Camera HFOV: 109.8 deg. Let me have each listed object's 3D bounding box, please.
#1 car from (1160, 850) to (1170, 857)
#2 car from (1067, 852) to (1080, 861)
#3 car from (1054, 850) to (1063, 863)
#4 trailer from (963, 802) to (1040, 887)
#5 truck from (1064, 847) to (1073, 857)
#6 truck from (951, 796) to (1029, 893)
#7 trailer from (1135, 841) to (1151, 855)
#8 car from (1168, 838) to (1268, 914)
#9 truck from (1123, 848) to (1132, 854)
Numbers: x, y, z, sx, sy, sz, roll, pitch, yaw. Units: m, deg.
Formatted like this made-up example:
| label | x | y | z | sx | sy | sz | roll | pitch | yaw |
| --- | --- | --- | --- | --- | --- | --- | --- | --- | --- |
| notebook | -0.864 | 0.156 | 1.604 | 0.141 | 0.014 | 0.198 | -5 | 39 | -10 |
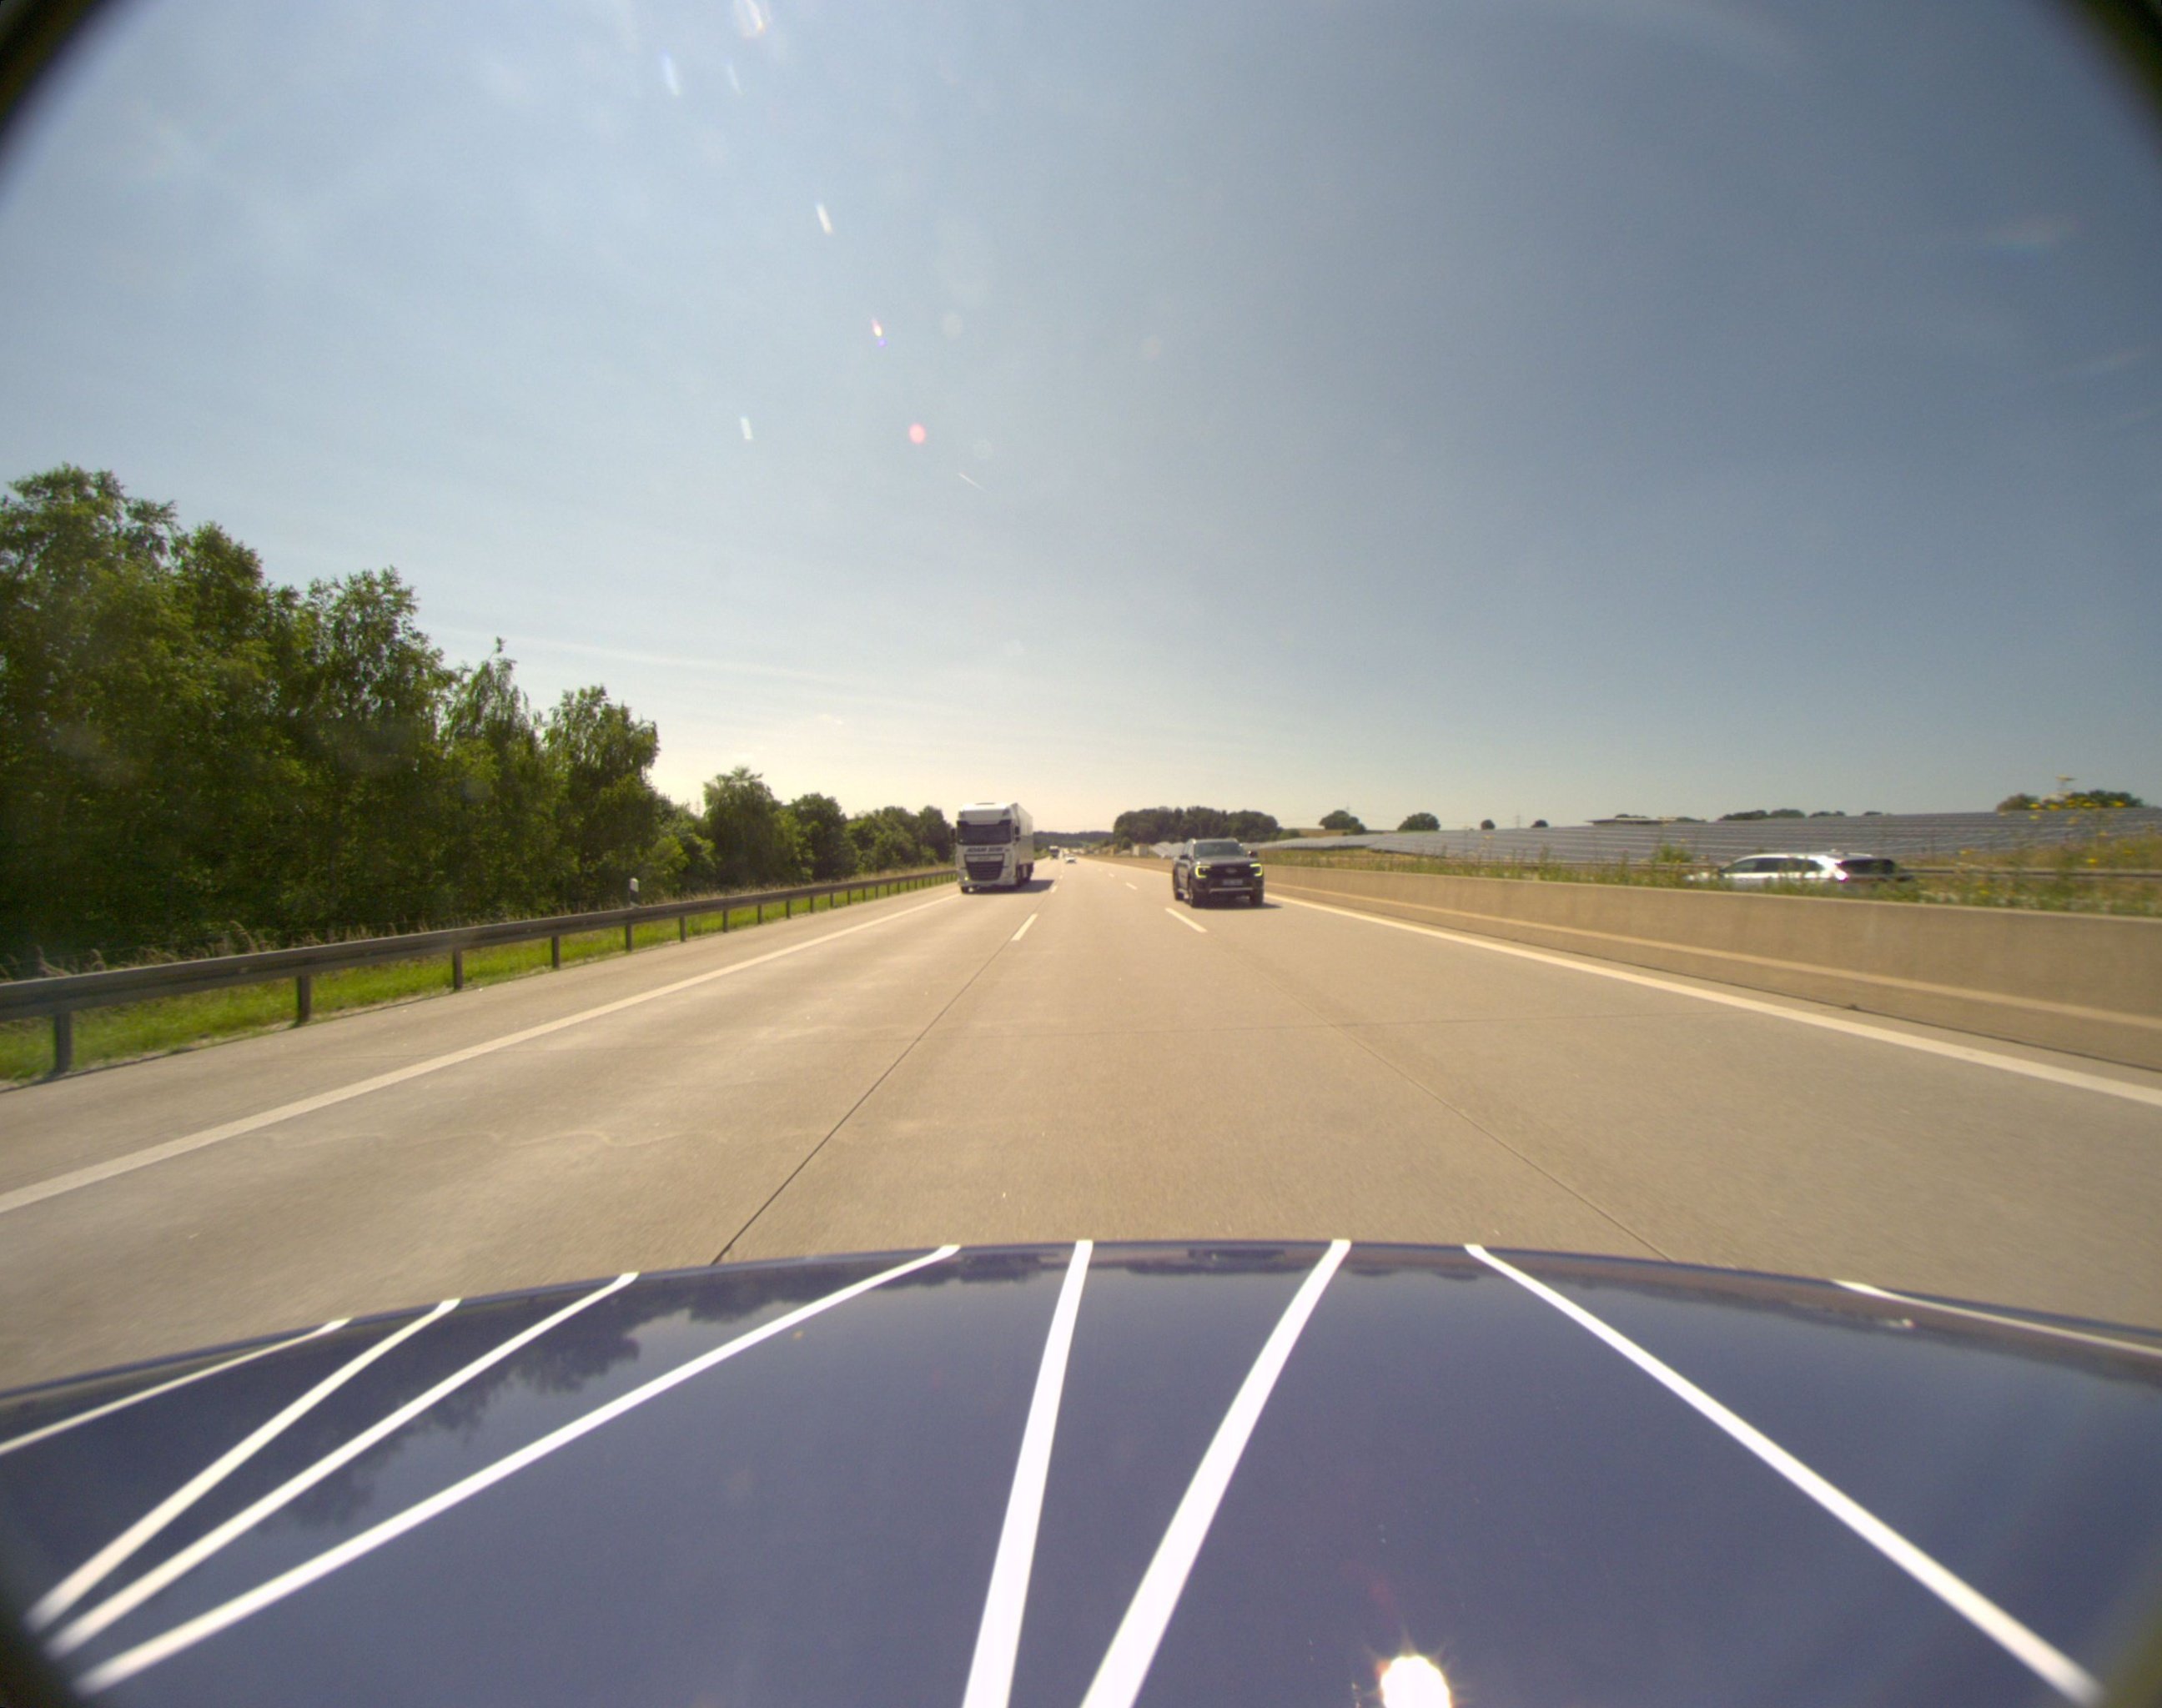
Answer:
| label | x | y | z | sx | sy | sz | roll | pitch | yaw |
| --- | --- | --- | --- | --- | --- | --- | --- | --- | --- |
| car | 17.841 | -0.094 | 160.977 | 1.630 | 1.474 | 3.999 | -2 | 1 | -1 |
| car | -1.283 | 0.432 | 127.081 | 2.065 | 1.472 | 5.068 | -1 | 0 | -2 |
| car | -7.274 | 0.868 | 244.077 | 2.766 | 4.029 | 10.850 | -1 | 0 | -1 |
| trailer | -4.166 | -0.493 | 42.788 | 2.860 | 4.019 | 12.711 | -2 | 0 | 0 |
| truck | -3.322 | -0.535 | 195.527 | 2.263 | 2.461 | 6.613 | -2 | 0 | -1 |
| truck | -4.101 | -0.429 | 35.383 | 2.819 | 4.064 | 5.797 | -2 | 1 | 0 |
| trailer | 18.015 | -1.743 | 220.862 | 3.098 | 3.981 | 14.136 | -2 | 1 | -1 |
| car | 3.835 | 0.531 | 22.481 | 1.998 | 1.836 | 6.530 | -2 | 1 | 2 |
| truck | 16.611 | -0.972 | 270.109 | 2.523 | 2.002 | 7.628 | -2 | 1 | -1 |
